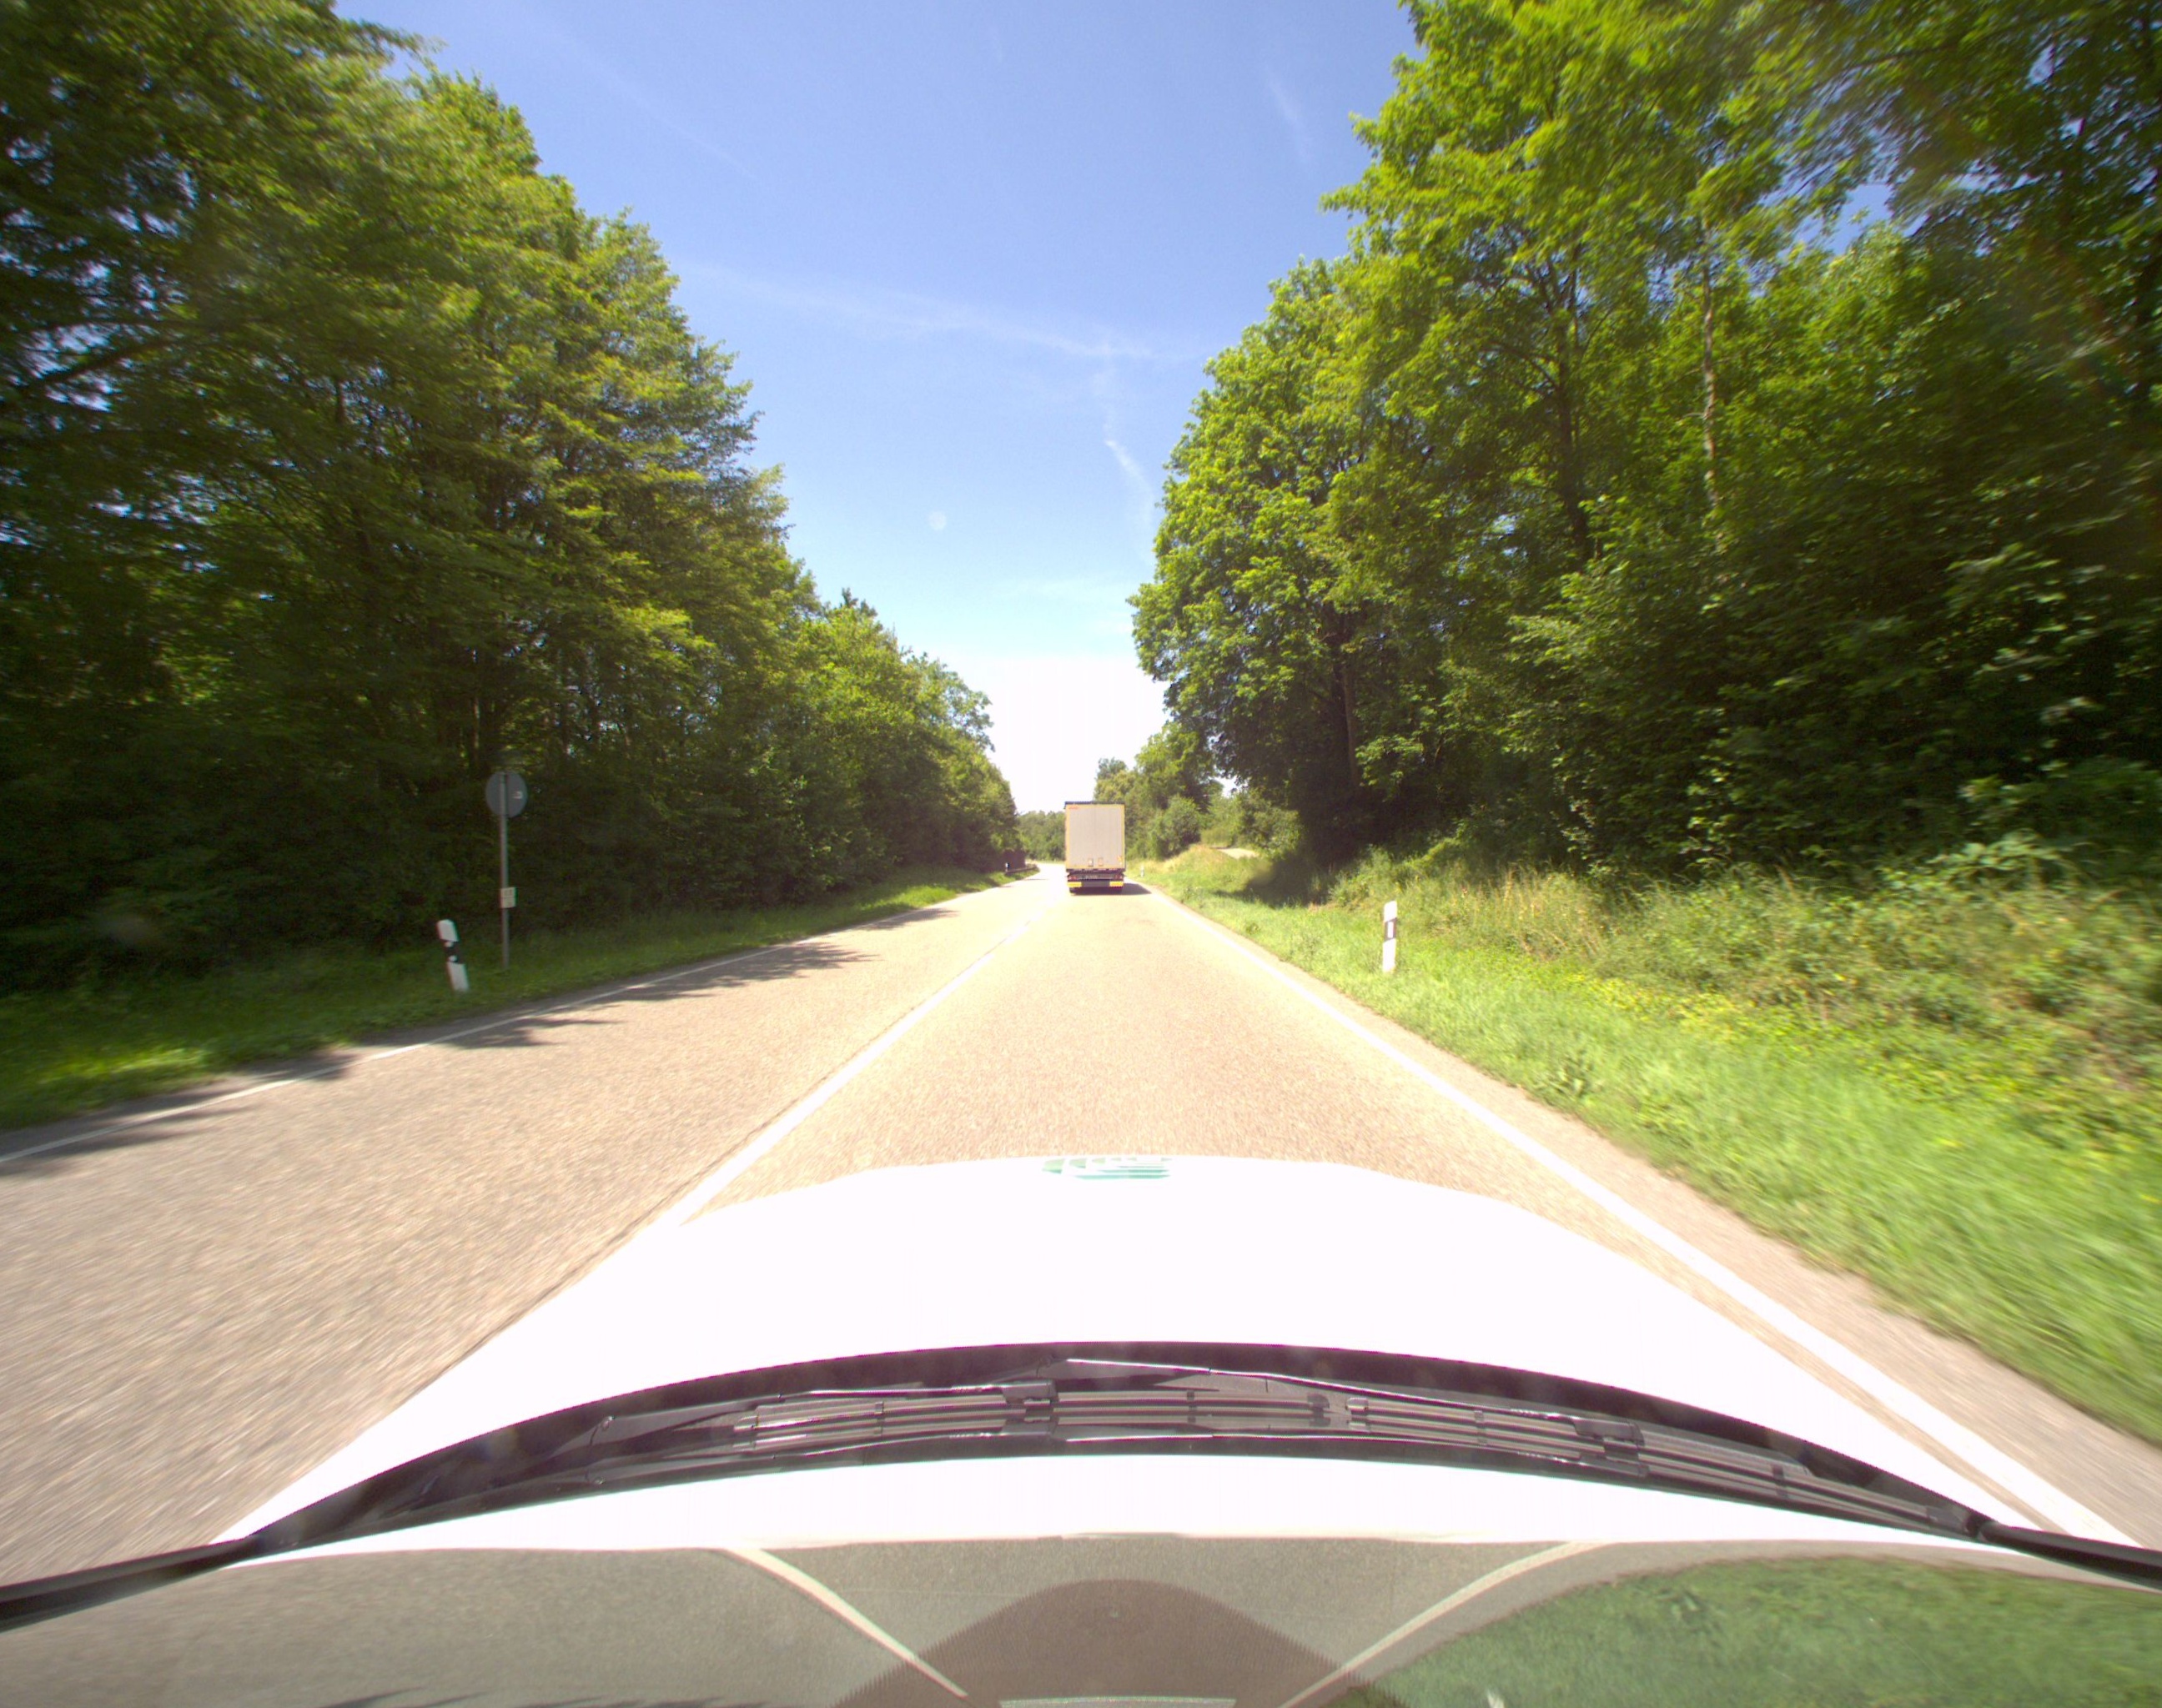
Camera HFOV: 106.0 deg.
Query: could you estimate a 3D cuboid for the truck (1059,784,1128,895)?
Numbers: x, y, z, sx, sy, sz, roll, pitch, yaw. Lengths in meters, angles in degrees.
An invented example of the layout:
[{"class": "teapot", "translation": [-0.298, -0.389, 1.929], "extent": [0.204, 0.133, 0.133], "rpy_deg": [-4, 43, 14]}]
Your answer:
[{"class": "truck", "translation": [0.723, -0.540, 37.380], "extent": [2.811, 4.604, 6.670], "rpy_deg": [-1, -1, 3]}]
